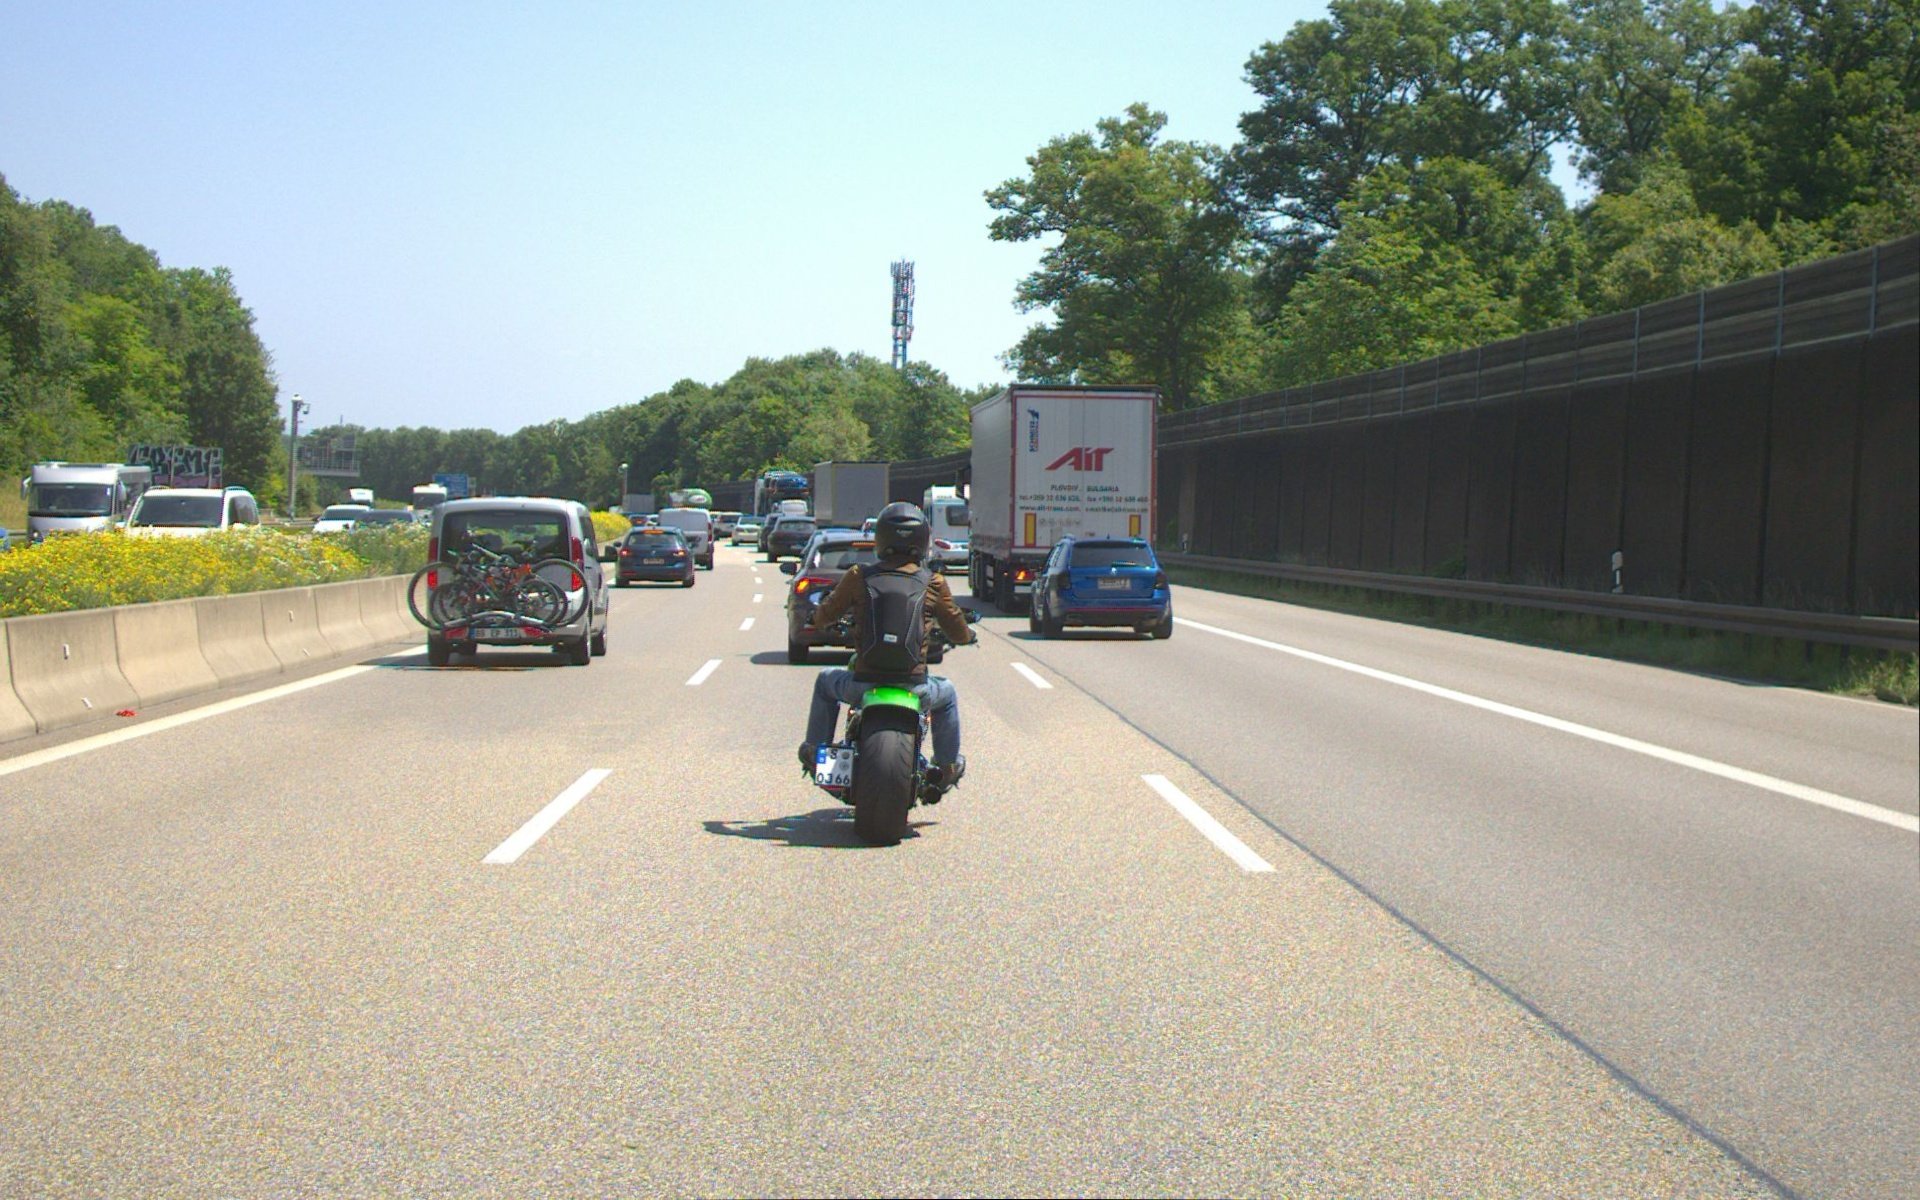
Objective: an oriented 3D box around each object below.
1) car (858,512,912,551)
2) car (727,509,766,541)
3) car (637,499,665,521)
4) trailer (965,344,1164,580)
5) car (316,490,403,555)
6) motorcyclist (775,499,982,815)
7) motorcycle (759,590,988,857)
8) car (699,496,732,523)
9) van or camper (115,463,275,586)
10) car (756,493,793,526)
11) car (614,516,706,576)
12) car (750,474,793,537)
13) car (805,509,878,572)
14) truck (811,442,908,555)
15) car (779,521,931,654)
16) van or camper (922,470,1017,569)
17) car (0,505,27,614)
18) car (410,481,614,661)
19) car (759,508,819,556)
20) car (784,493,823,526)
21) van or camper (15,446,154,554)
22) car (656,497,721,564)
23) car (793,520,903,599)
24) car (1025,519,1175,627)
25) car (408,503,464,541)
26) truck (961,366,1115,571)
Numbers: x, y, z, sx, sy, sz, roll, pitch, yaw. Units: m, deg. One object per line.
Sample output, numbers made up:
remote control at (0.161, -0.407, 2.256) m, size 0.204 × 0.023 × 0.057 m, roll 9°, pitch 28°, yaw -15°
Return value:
car at (-3.102, -2.809, 141.747) m, size 1.993 × 1.568 × 4.001 m, roll 0°, pitch 0°, yaw -5°
car at (-10.504, -3.703, 169.369) m, size 1.832 × 1.491 × 3.744 m, roll 0°, pitch 0°, yaw -3°
car at (-22.039, -6.386, 245.135) m, size 1.832 × 1.491 × 3.744 m, roll 0°, pitch 0°, yaw -8°
trailer at (1.803, -2.536, 65.846) m, size 2.885 × 4.024 × 13.797 m, roll 1°, pitch 1°, yaw -2°
car at (-19.353, -2.492, 111.040) m, size 1.993 × 2.007 × 4.568 m, roll 0°, pitch 0°, yaw 0°
motorcyclist at (-0.375, 0.259, 17.011) m, size 0.900 × 1.470 × 1.872 m, roll 1°, pitch 0°, yaw 2°
motorcycle at (-0.387, 0.565, 17.239) m, size 0.964 × 1.144 × 2.811 m, roll 1°, pitch 2°, yaw 2°
car at (-13.969, -5.181, 196.761) m, size 1.832 × 1.491 × 3.744 m, roll 0°, pitch 0°, yaw -3°
van or camper at (-13.089, -1.266, 59.053) m, size 1.882 × 2.007 × 4.588 m, roll 0°, pitch 0°, yaw -2°
car at (-11.332, -5.516, 209.741) m, size 2.107 × 1.870 × 4.001 m, roll 0°, pitch 0°, yaw -5°
car at (-7.093, -1.272, 81.673) m, size 1.993 × 1.382 × 4.000 m, roll 0°, pitch 0°, yaw -2°
car at (-11.986, -5.993, 218.216) m, size 2.133 × 3.848 × 8.144 m, roll 1°, pitch 2°, yaw -7°
car at (-2.985, -1.484, 87.141) m, size 1.779 × 1.547 × 3.585 m, roll 0°, pitch 0°, yaw -1°
truck at (-4.666, -4.576, 157.371) m, size 3.802 × 4.943 × 8.952 m, roll 0°, pitch 0°, yaw -6°
car at (-1.191, -0.154, 39.824) m, size 1.662 × 1.448 × 3.869 m, roll 0°, pitch 0°, yaw -1°
van or camper at (0.245, -2.328, 101.726) m, size 2.685 × 2.803 × 6.803 m, roll 0°, pitch 0°, yaw -1°
car at (-15.857, -0.627, 52.787) m, size 1.993 × 1.685 × 4.401 m, roll 0°, pitch 0°, yaw -2°
car at (-4.910, -0.318, 38.185) m, size 1.899 × 1.867 × 4.413 m, roll 0°, pitch 0°, yaw -3°
car at (-5.988, -2.366, 120.478) m, size 1.993 × 1.634 × 4.000 m, roll 0°, pitch 0°, yaw -2°
car at (-9.297, -5.385, 204.234) m, size 2.107 × 1.870 × 4.001 m, roll 0°, pitch 0°, yaw -5°
van or camper at (-22.120, -2.482, 87.126) m, size 2.186 × 2.551 × 6.933 m, roll 0°, pitch 0°, yaw -4°
car at (-8.291, -2.103, 105.067) m, size 1.791 × 2.007 × 3.642 m, roll 0°, pitch 0°, yaw -2°
car at (-2.132, -0.760, 65.095) m, size 1.993 × 1.425 × 3.848 m, roll 0°, pitch 0°, yaw -2°
car at (1.969, -0.391, 49.551) m, size 1.650 × 1.477 × 4.482 m, roll 0°, pitch 0°, yaw -4°
car at (-22.907, -3.387, 150.414) m, size 1.993 × 1.585 × 4.163 m, roll 0°, pitch 0°, yaw -2°
truck at (1.576, -2.742, 72.679) m, size 2.885 × 4.132 × 5.987 m, roll 1°, pitch 1°, yaw -2°
